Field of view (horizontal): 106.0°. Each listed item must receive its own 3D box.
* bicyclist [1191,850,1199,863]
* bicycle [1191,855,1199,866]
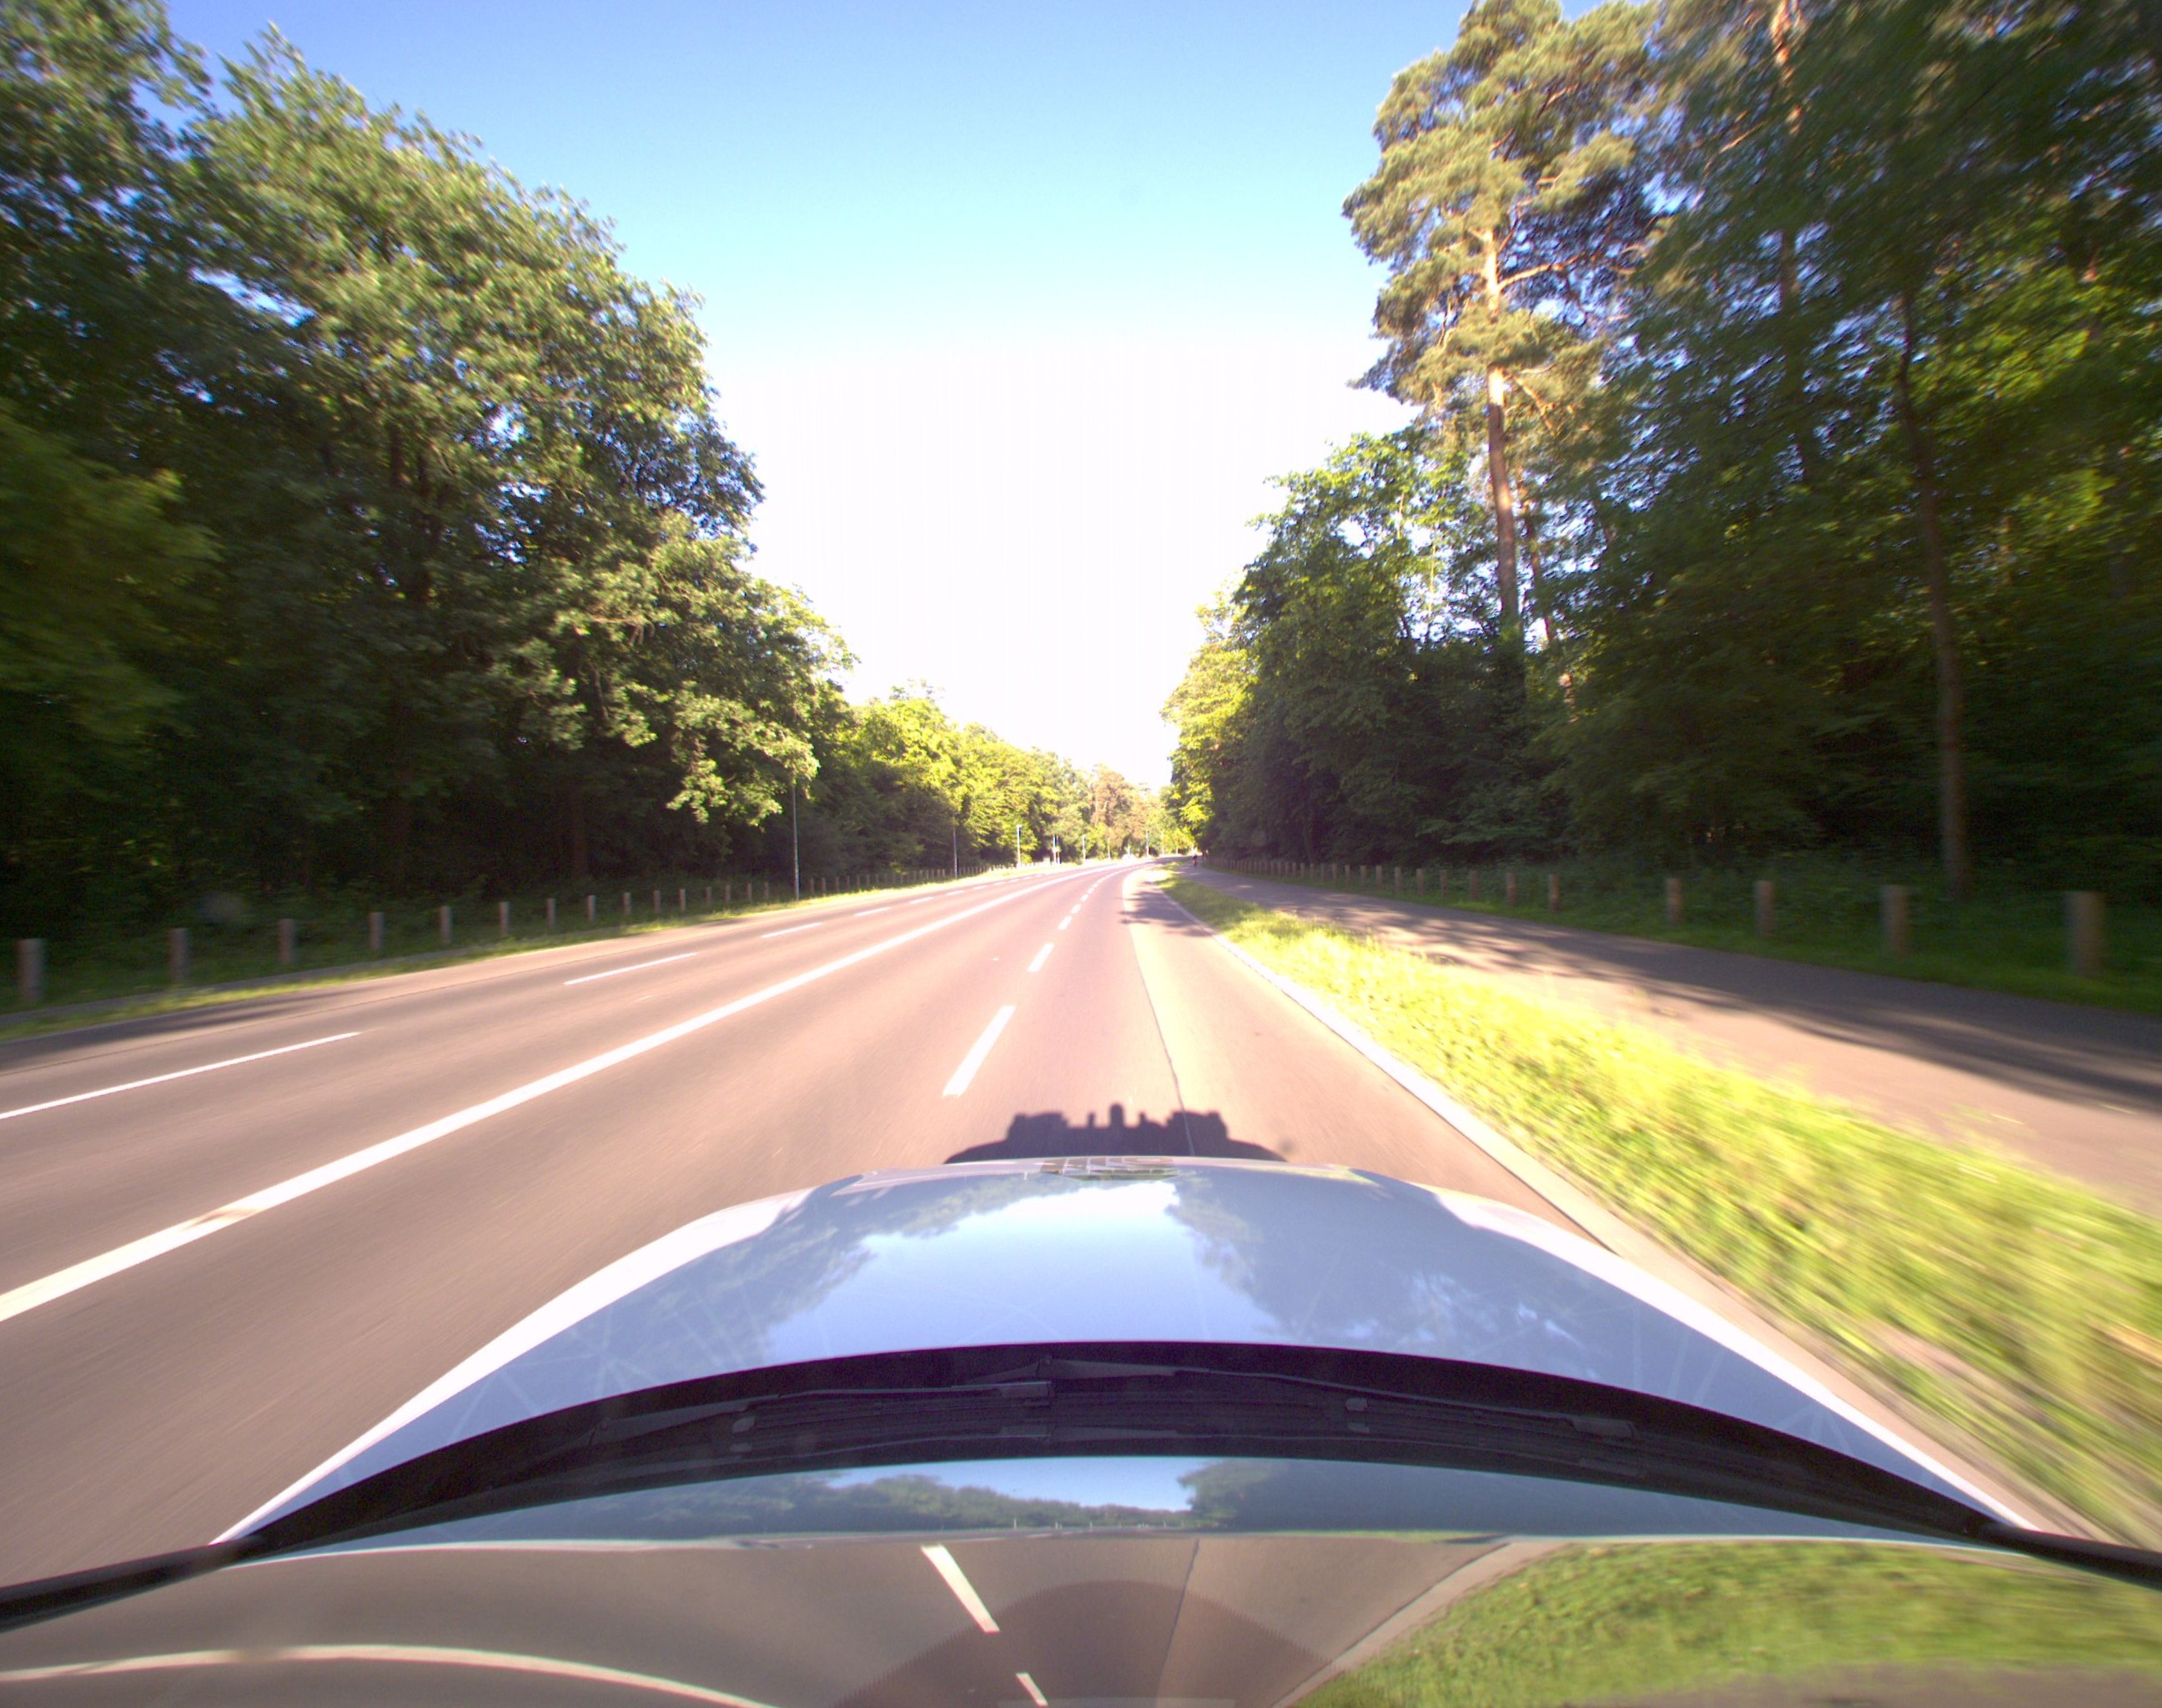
[{"bbox_3d":[11.309,0.248,80.730,0.708,1.288,1.107,-2,0,9],"label":"bicyclist"},{"bbox_3d":[11.288,0.599,80.518,0.708,1.056,2.058,-2,0,9],"label":"bicycle"}]
